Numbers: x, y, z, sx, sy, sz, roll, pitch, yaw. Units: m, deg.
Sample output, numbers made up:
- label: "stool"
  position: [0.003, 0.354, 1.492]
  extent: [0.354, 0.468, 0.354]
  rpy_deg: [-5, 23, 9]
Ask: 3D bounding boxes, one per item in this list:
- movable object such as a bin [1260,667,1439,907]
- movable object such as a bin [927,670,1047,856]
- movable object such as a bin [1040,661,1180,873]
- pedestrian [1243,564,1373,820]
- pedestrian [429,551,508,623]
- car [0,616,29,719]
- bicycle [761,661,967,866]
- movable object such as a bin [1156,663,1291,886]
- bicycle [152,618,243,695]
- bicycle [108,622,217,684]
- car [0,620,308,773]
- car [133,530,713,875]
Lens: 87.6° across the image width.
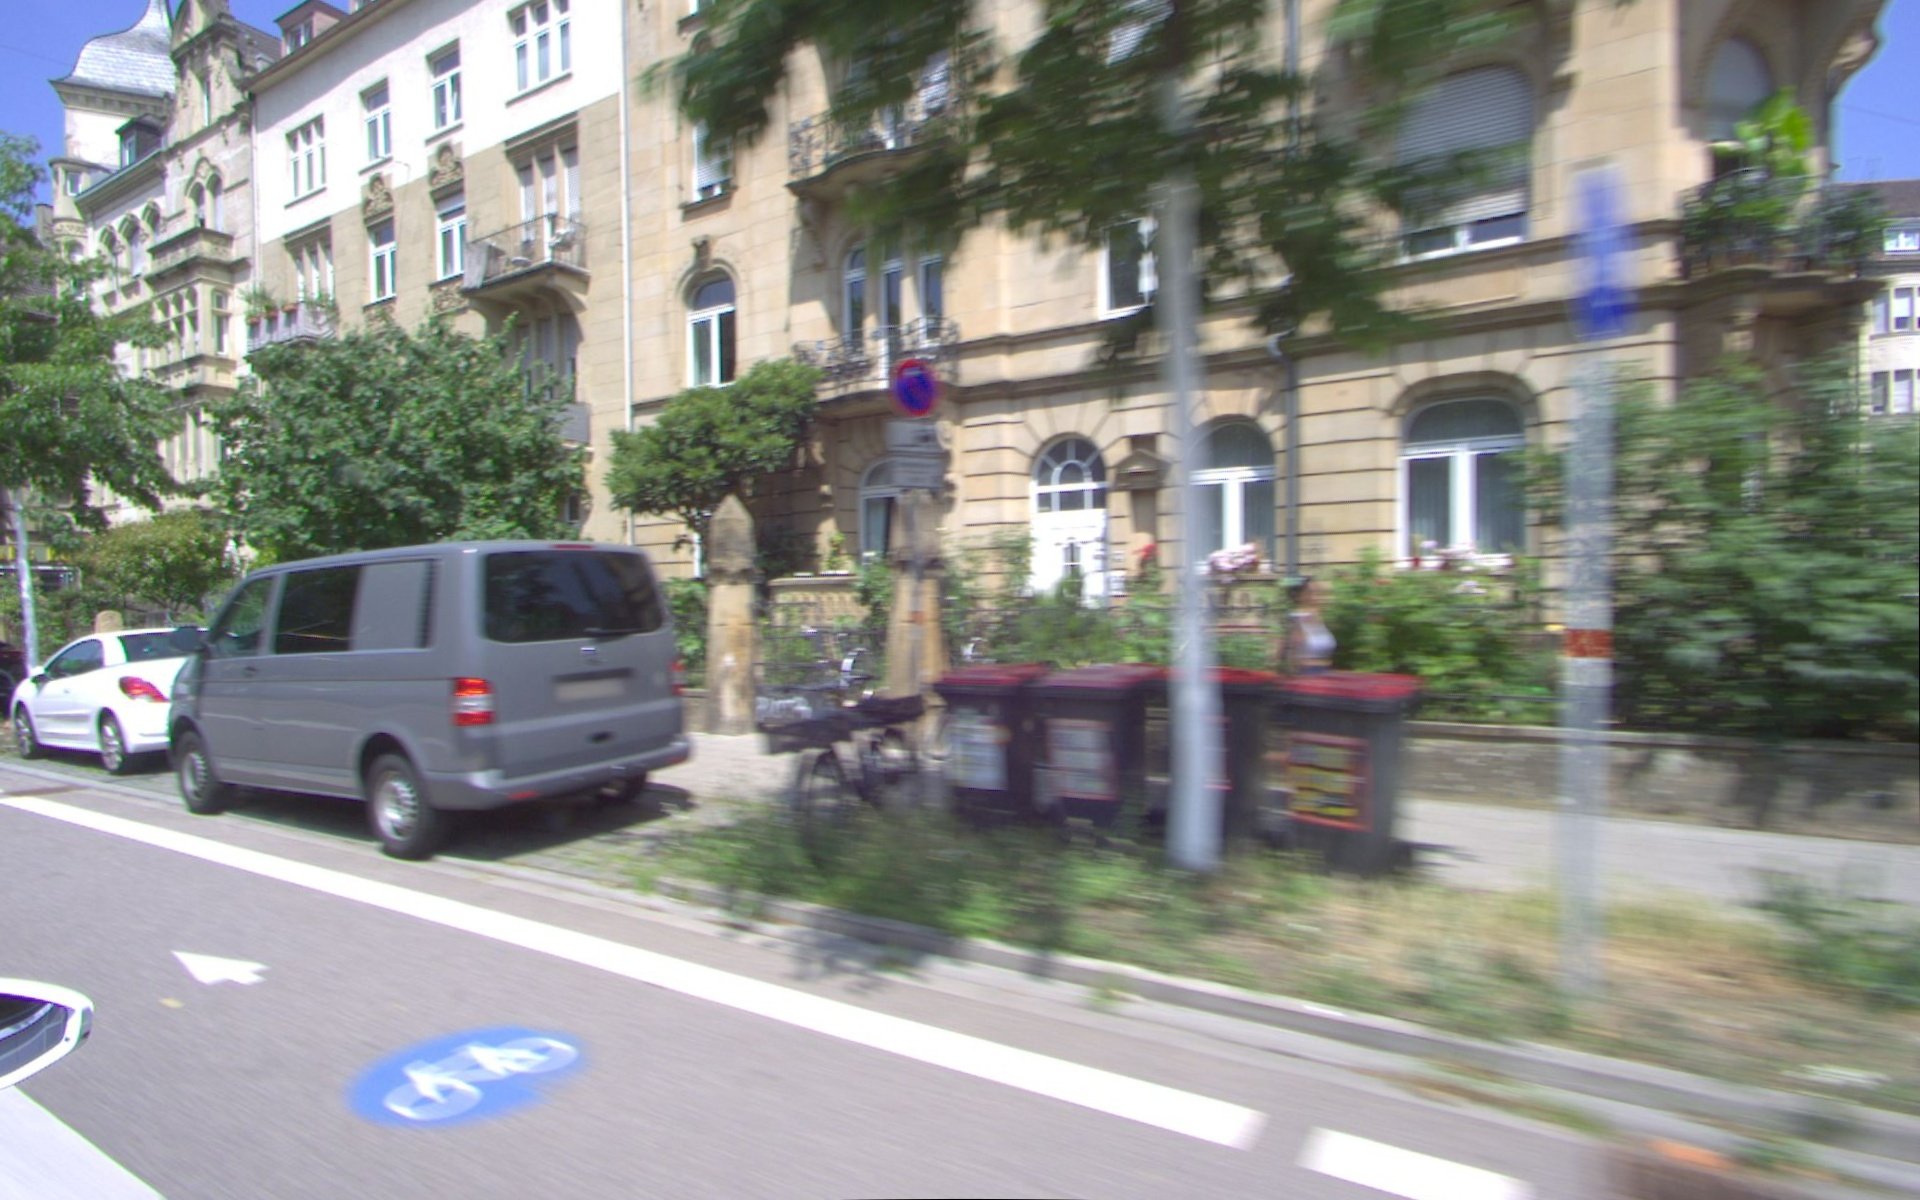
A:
- label: "movable object such as a bin"
  position: [1.965, 0.878, 5.023]
  extent: [0.642, 1.027, 0.784]
  rpy_deg: [0, 0, 38]
- label: "movable object such as a bin"
  position: [0.176, 0.955, 6.087]
  extent: [0.556, 1.024, 0.596]
  rpy_deg: [0, 0, 22]
- label: "movable object such as a bin"
  position: [0.866, 0.906, 5.724]
  extent: [0.490, 1.076, 0.743]
  rpy_deg: [0, 0, 38]
- label: "pedestrian"
  position: [2.354, 0.586, 6.766]
  extent: [0.718, 1.619, 0.550]
  rpy_deg: [0, 0, 35]
- label: "pedestrian"
  position: [-7.696, -0.186, 15.683]
  extent: [0.751, 1.084, 0.863]
  rpy_deg: [0, 0, 36]
- label: "car"
  position: [-16.395, 1.038, 15.732]
  extent: [3.956, 1.551, 1.663]
  rpy_deg: [0, 0, 33]
- label: "bicycle"
  position: [-0.521, 0.926, 6.277]
  extent: [0.462, 1.004, 1.882]
  rpy_deg: [0, -1, 23]
- label: "movable object such as a bin"
  position: [1.438, 0.900, 5.431]
  extent: [0.490, 1.076, 0.667]
  rpy_deg: [0, 0, 38]
- label: "bicycle"
  position: [-13.310, 0.953, 17.460]
  extent: [2.062, 1.278, 0.591]
  rpy_deg: [-1, 0, 33]
- label: "bicycle"
  position: [-16.534, 1.087, 20.806]
  extent: [0.338, 1.091, 1.684]
  rpy_deg: [0, 4, 32]
- label: "car"
  position: [-9.171, 0.951, 11.270]
  extent: [3.943, 1.424, 1.607]
  rpy_deg: [-1, 0, 33]
- label: "car"
  position: [-4.319, 0.591, 7.797]
  extent: [4.767, 1.974, 1.874]
  rpy_deg: [0, 1, 33]
